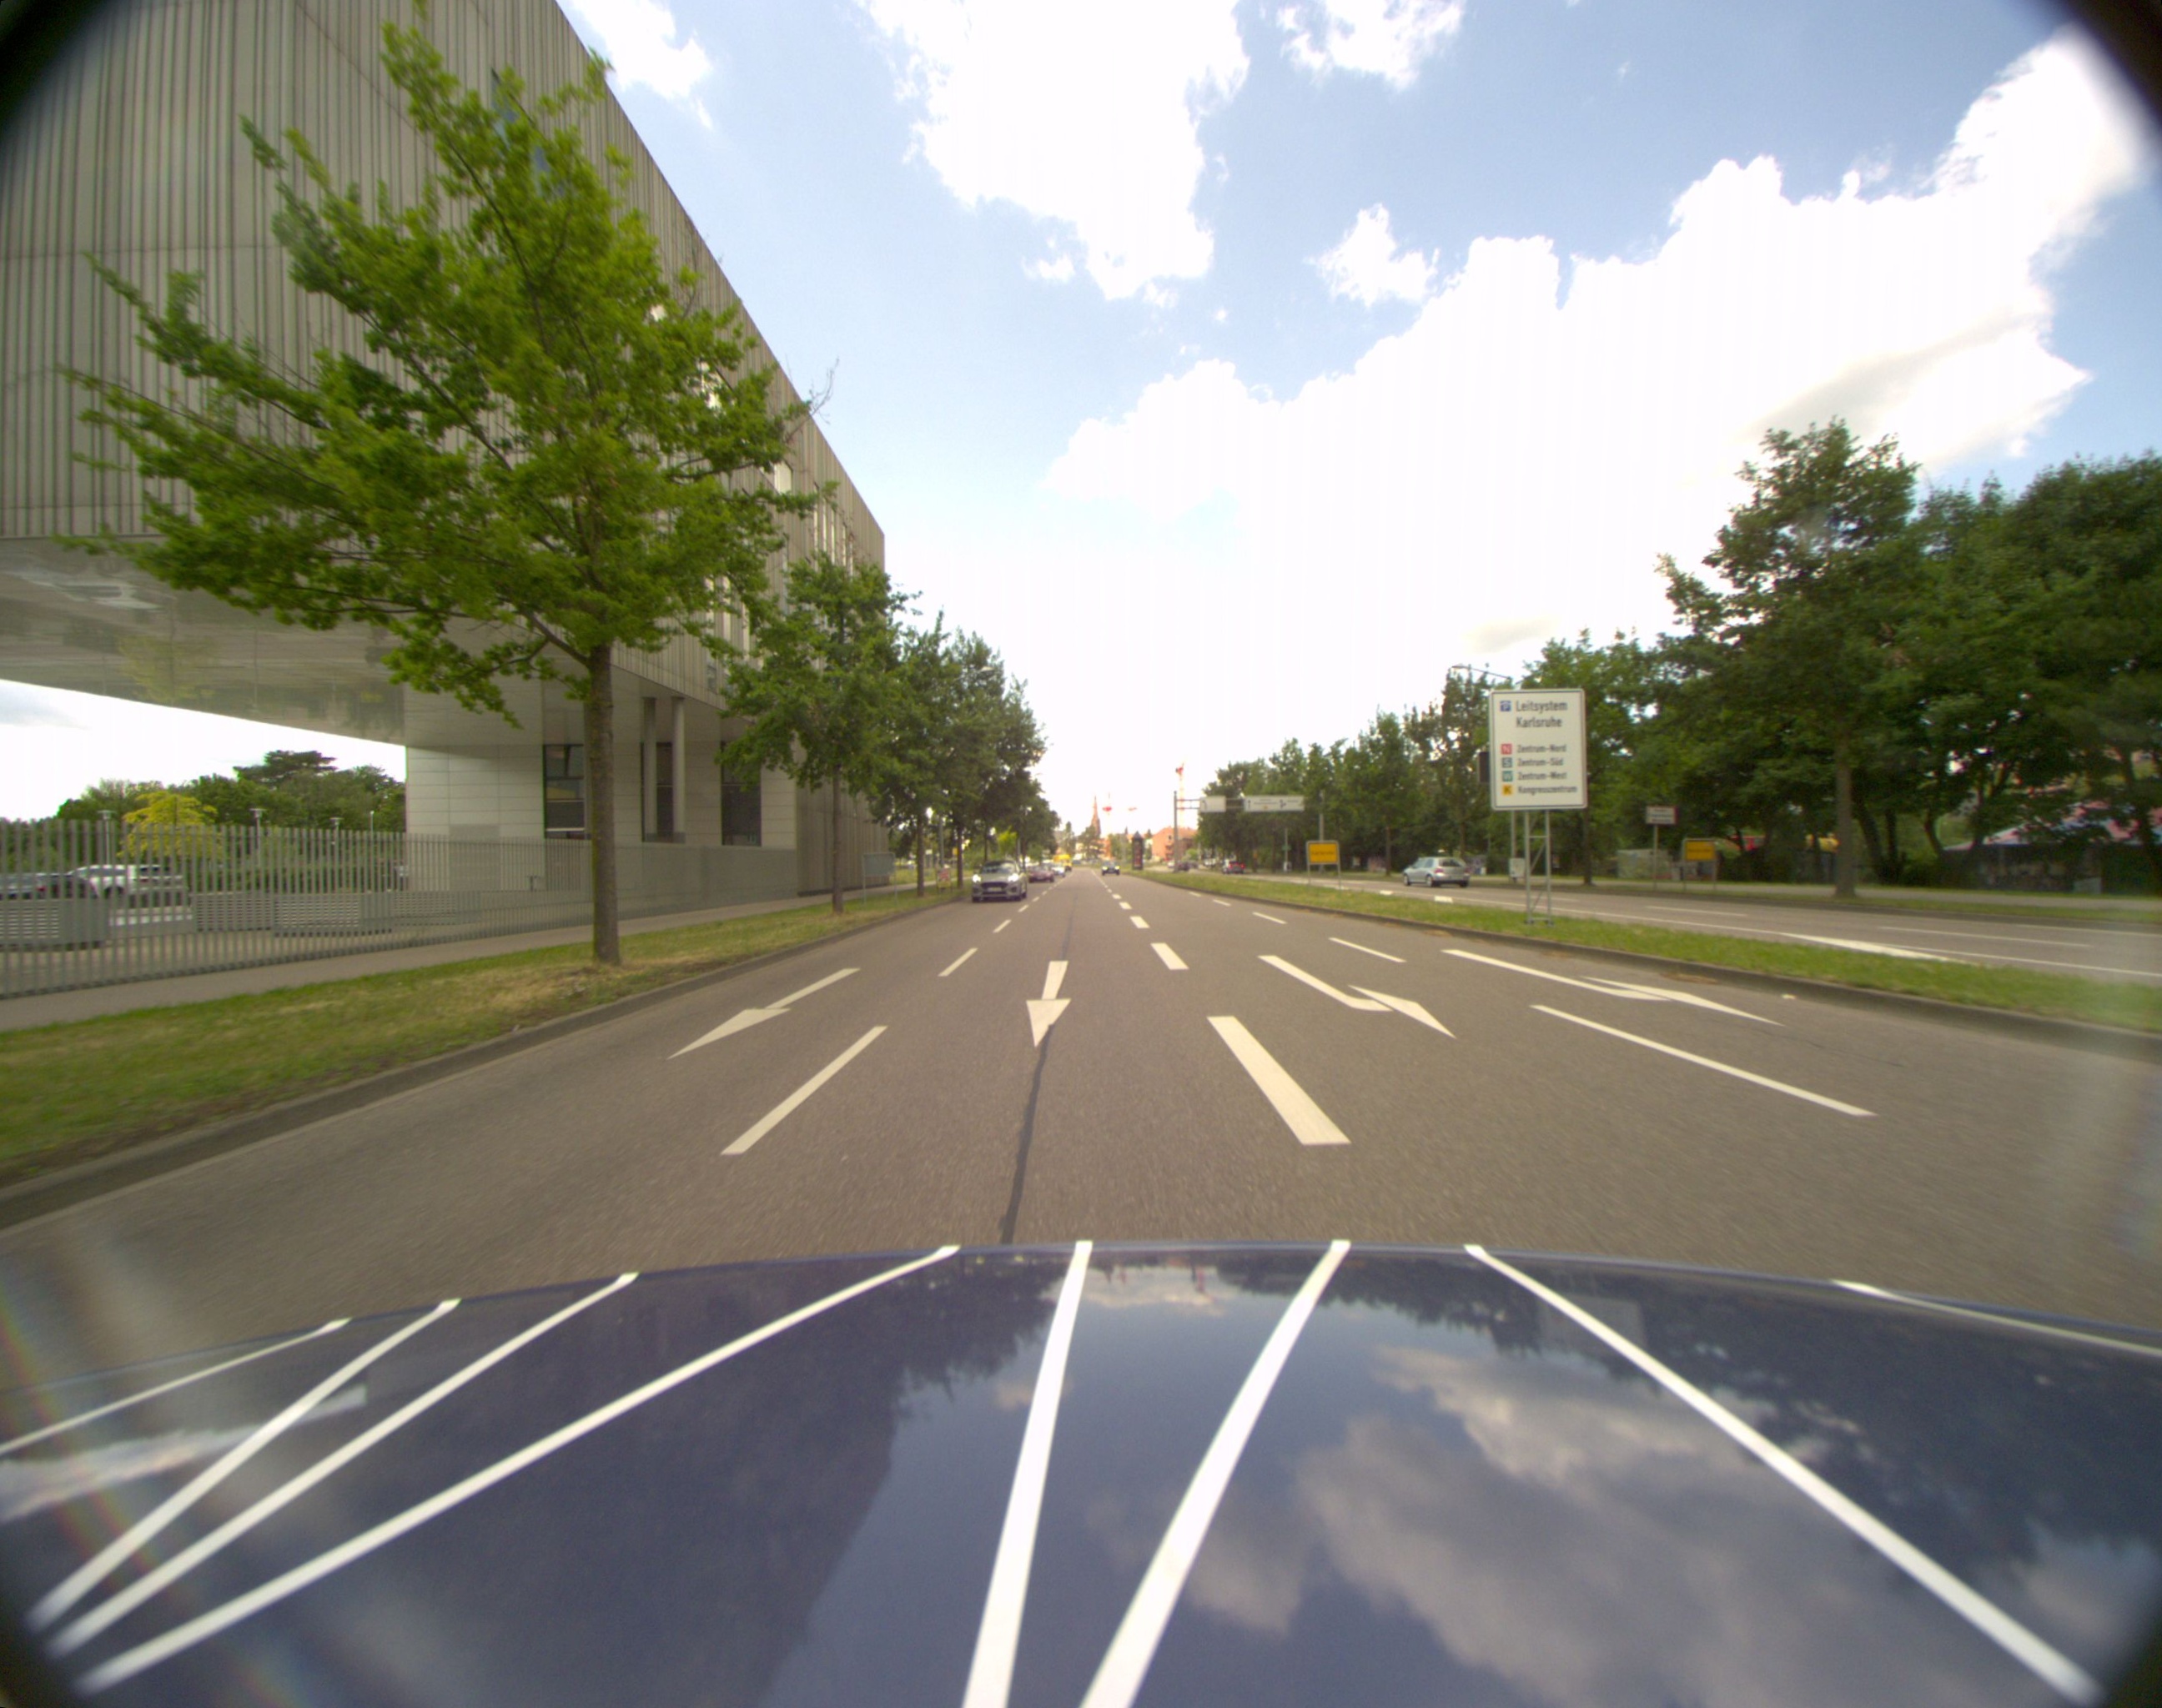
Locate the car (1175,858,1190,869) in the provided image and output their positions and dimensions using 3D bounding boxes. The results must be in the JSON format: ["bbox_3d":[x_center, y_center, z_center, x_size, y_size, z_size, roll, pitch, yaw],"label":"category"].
[{"bbox_3d":[14.626,1.382,109.458,1.745,1.559,4.276,0,0,1],"label":"car"}]

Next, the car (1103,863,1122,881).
[{"bbox_3d":[3.370,1.918,81.791,1.774,1.590,4.126,-2,2,0],"label":"car"}]

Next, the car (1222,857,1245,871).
[{"bbox_3d":[17.337,1.086,86.605,1.746,1.536,4.573,0,0,0],"label":"car"}]

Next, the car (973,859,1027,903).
[{"bbox_3d":[-3.024,0.994,29.195,1.674,1.462,4.091,-3,0,-1],"label":"car"}]

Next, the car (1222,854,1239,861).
[{"bbox_3d":[32.194,0.833,163.388,1.838,1.471,4.763,0,0,34],"label":"car"}]

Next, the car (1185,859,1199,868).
[{"bbox_3d":[19.981,1.745,136.590,1.765,1.568,5.037,0,0,15],"label":"car"}]

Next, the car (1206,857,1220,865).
[{"bbox_3d":[25.751,1.414,147.731,1.912,1.531,4.375,0,0,20],"label":"car"}]

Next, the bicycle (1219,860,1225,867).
[{"bbox_3d":[24.817,1.671,133.750,0.763,1.212,2.016,-3,0,0],"label":"bicycle"}]

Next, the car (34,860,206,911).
[{"bbox_3d":[-38.980,1.237,30.917,4.310,1.792,1.999,-2,1,0],"label":"car"}]

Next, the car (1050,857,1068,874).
[{"bbox_3d":[-2.387,1.188,81.202,1.674,1.589,4.125,-3,1,-5],"label":"car"}]

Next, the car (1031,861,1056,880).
[{"bbox_3d":[-2.724,1.212,56.311,1.674,1.254,4.092,-1,0,-1],"label":"car"}]

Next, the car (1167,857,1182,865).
[{"bbox_3d":[17.448,1.318,141.805,1.764,1.431,4.316,0,0,23],"label":"car"}]

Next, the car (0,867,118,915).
[{"bbox_3d":[-38.634,1.381,28.032,3.669,1.581,1.871,-2,1,0],"label":"car"}]

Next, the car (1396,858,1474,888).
[{"bbox_3d":[16.647,0.871,35.978,1.644,1.321,4.381,-1,0,0],"label":"car"}]

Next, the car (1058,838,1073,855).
[{"bbox_3d":[-2.622,-1.313,130.571,2.284,2.837,7.253,-1,0,-3],"label":"car"}]

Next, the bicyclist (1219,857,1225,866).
[{"bbox_3d":[24.801,1.241,133.657,0.832,1.556,0.883,-3,0,0],"label":"bicyclist"}]

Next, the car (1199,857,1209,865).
[{"bbox_3d":[25.280,1.433,156.287,1.725,1.581,5.019,0,0,14],"label":"car"}]
